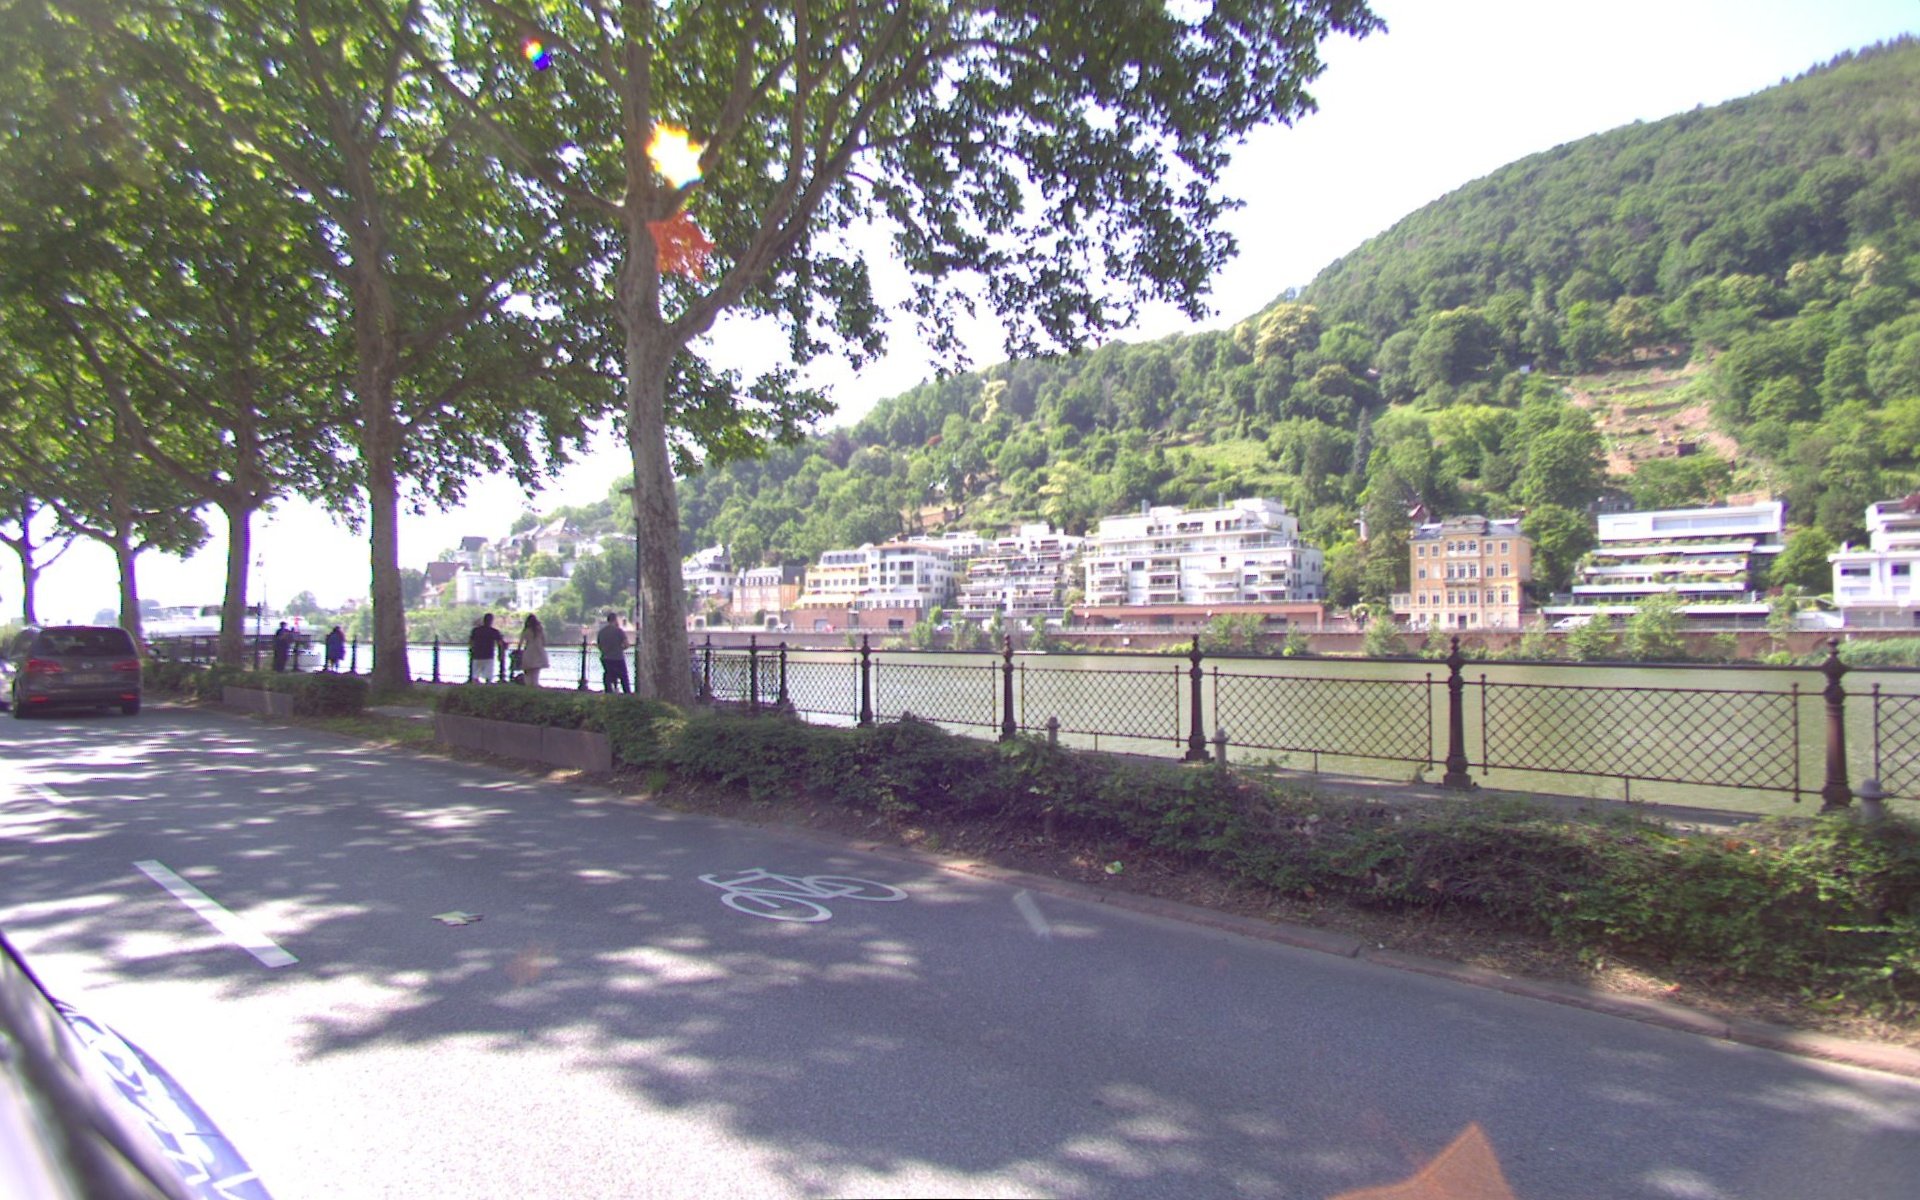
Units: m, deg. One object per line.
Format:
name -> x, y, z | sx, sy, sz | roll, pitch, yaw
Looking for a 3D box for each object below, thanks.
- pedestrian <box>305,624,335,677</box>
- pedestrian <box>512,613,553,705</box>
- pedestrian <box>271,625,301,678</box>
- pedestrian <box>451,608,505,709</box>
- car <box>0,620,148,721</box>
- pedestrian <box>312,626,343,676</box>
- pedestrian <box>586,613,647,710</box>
pedestrian -> -22.169, 1.726, 35.066 | 0.705, 1.811, 0.696 | -2, -2, 43
pedestrian -> -8.485, 1.158, 20.086 | 0.592, 1.782, 0.511 | -2, -4, 42
pedestrian -> -22.756, 1.734, 34.170 | 0.705, 1.744, 0.696 | -2, -2, 43
pedestrian -> -9.257, 1.112, 19.451 | 0.805, 1.884, 0.634 | -2, -4, 42
car -> -16.583, 1.256, 18.714 | 4.088, 1.660, 1.745 | -2, -4, 42
pedestrian -> -21.197, 1.698, 33.912 | 0.705, 1.615, 0.696 | -2, -2, 43
pedestrian -> -6.363, 1.117, 18.724 | 0.873, 1.730, 0.686 | -2, 0, 40
